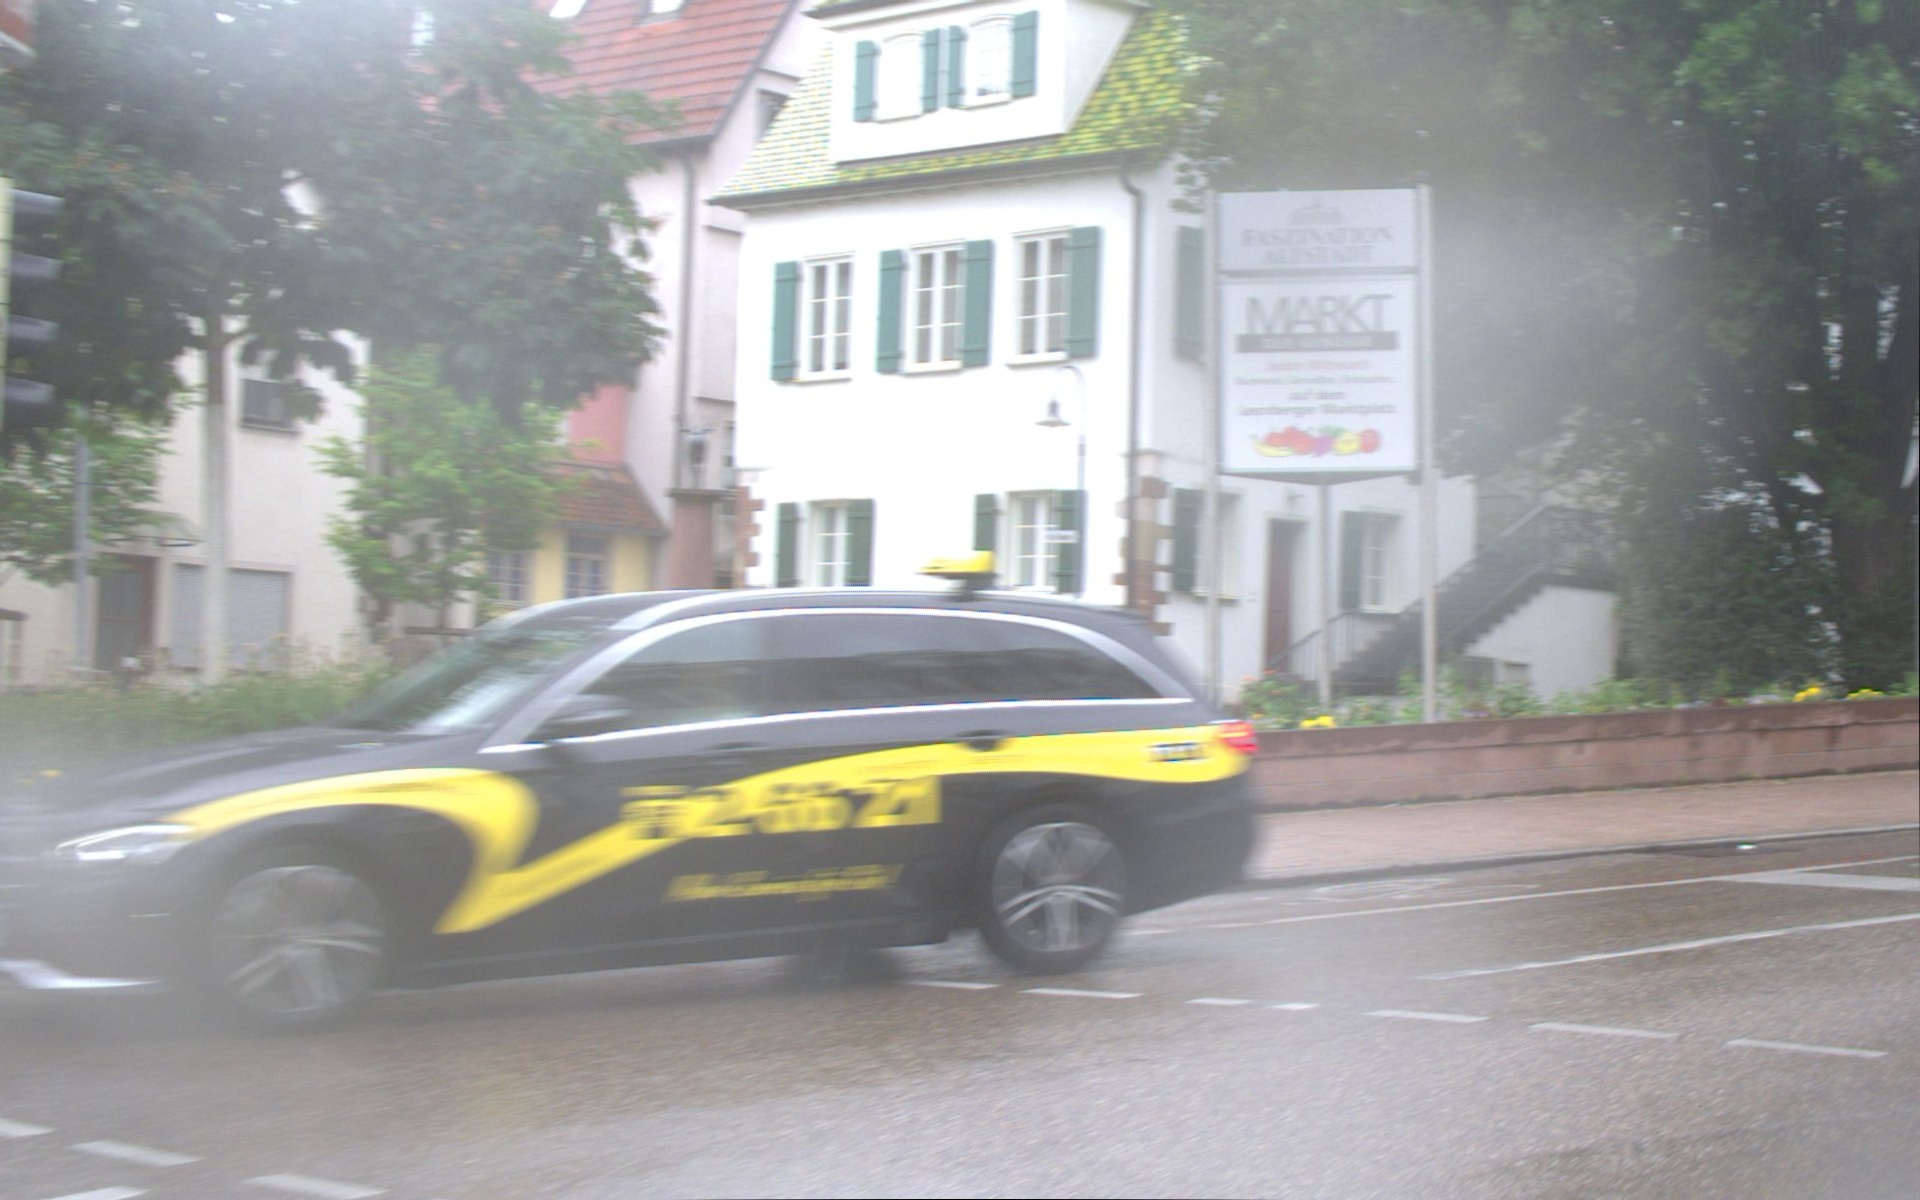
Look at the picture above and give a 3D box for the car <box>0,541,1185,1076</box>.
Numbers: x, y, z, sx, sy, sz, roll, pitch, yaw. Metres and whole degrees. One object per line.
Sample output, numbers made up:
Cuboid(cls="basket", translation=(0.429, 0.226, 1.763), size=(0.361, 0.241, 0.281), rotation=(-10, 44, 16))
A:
Cuboid(cls="car", translation=(-1.581, 0.607, 12.450), size=(4.399, 1.533, 2.000), rotation=(-2, 2, -31))
